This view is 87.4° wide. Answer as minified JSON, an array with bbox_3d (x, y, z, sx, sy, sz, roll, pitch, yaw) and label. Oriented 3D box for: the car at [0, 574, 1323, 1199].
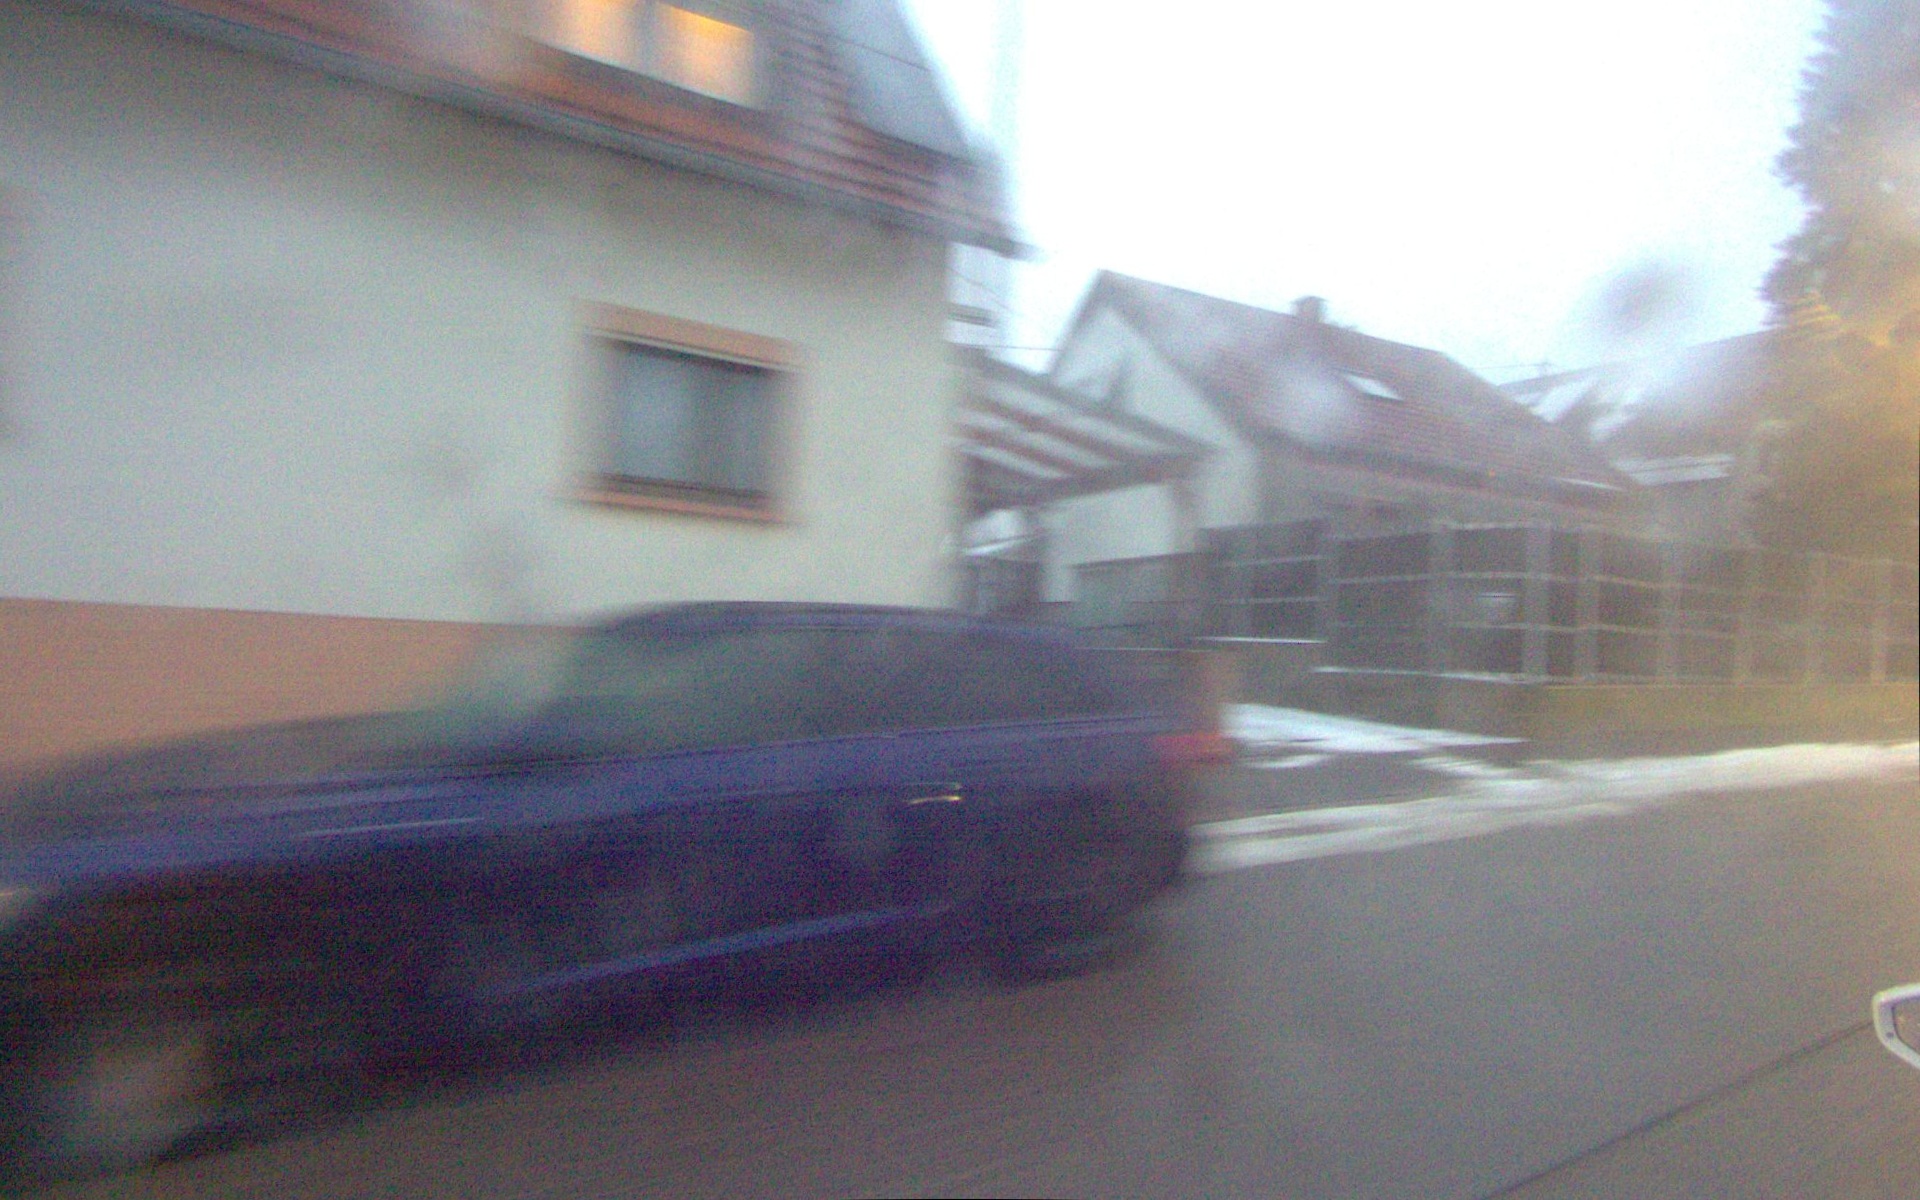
[{"bbox_3d":[-1.162,0.684,3.987,5.327,1.445,1.868,1,1,-29],"label":"car"}]
